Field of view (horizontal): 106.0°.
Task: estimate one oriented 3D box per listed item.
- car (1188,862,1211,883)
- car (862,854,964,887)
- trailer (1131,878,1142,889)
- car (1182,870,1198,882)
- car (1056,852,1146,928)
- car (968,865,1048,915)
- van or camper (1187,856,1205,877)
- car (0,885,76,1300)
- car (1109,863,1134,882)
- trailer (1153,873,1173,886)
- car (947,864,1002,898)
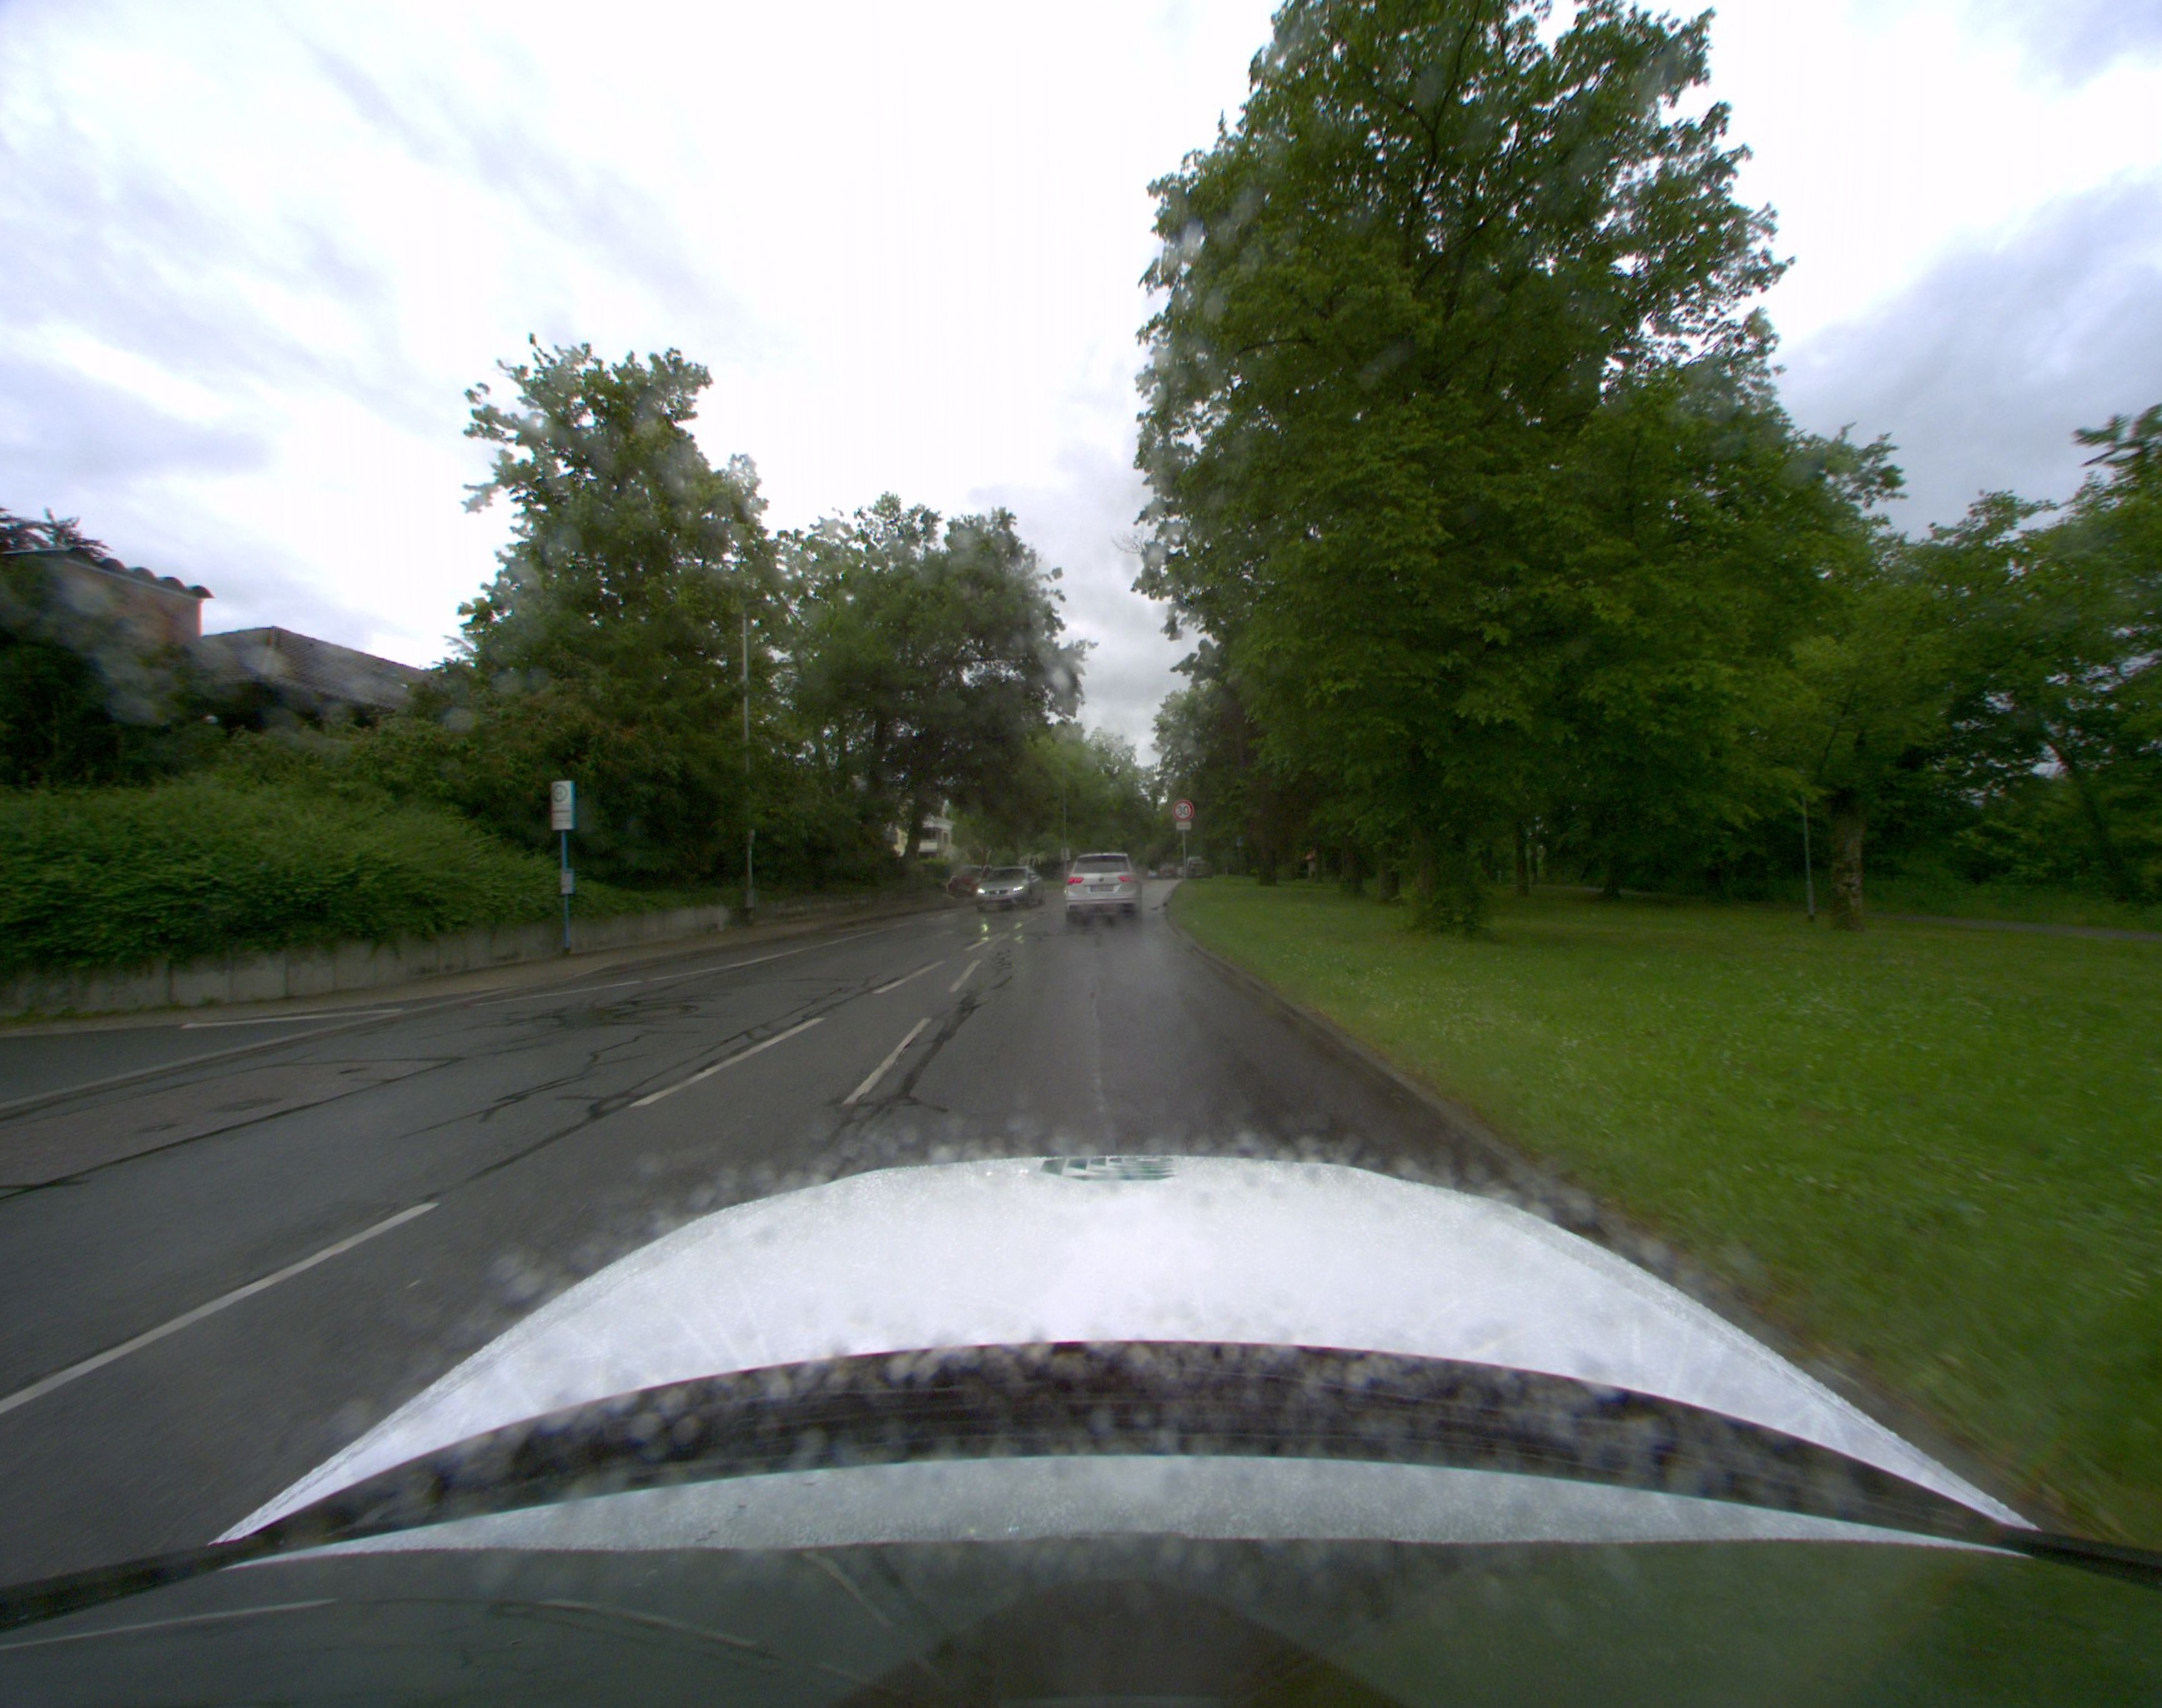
[{"bbox_3d":[9.220,1.431,63.195,1.691,1.462,4.227,-3,-2,9],"label":"car"},{"bbox_3d":[-10.792,1.038,52.745,5.719,2.038,3.482,0,-1,3],"label":"car"},{"bbox_3d":[11.544,6.126,169.338,1.527,2.076,3.992,-3,-5,-4],"label":"trailer"},{"bbox_3d":[14.540,2.952,108.678,1.796,1.539,4.272,-3,-2,5],"label":"car"},{"bbox_3d":[0.612,0.840,20.607,1.895,1.685,4.207,-2,-1,6],"label":"car"},{"bbox_3d":[-2.391,1.170,27.900,1.781,1.423,4.367,-4,-1,6],"label":"car"},{"bbox_3d":[14.495,1.557,102.044,2.004,2.583,8.457,0,-1,9],"label":"van or camper"},{"bbox_3d":[-5.294,0.930,1.416,1.984,1.577,4.005,-1,0,5],"label":"car"},{"bbox_3d":[3.396,1.542,67.737,1.691,1.410,4.016,-4,-1,7],"label":"car"},{"bbox_3d":[13.906,4.368,137.709,2.444,1.813,5.883,-2,-4,-3],"label":"trailer"},{"bbox_3d":[-5.260,1.310,40.828,1.985,1.516,4.002,2,0,3],"label":"car"}]
